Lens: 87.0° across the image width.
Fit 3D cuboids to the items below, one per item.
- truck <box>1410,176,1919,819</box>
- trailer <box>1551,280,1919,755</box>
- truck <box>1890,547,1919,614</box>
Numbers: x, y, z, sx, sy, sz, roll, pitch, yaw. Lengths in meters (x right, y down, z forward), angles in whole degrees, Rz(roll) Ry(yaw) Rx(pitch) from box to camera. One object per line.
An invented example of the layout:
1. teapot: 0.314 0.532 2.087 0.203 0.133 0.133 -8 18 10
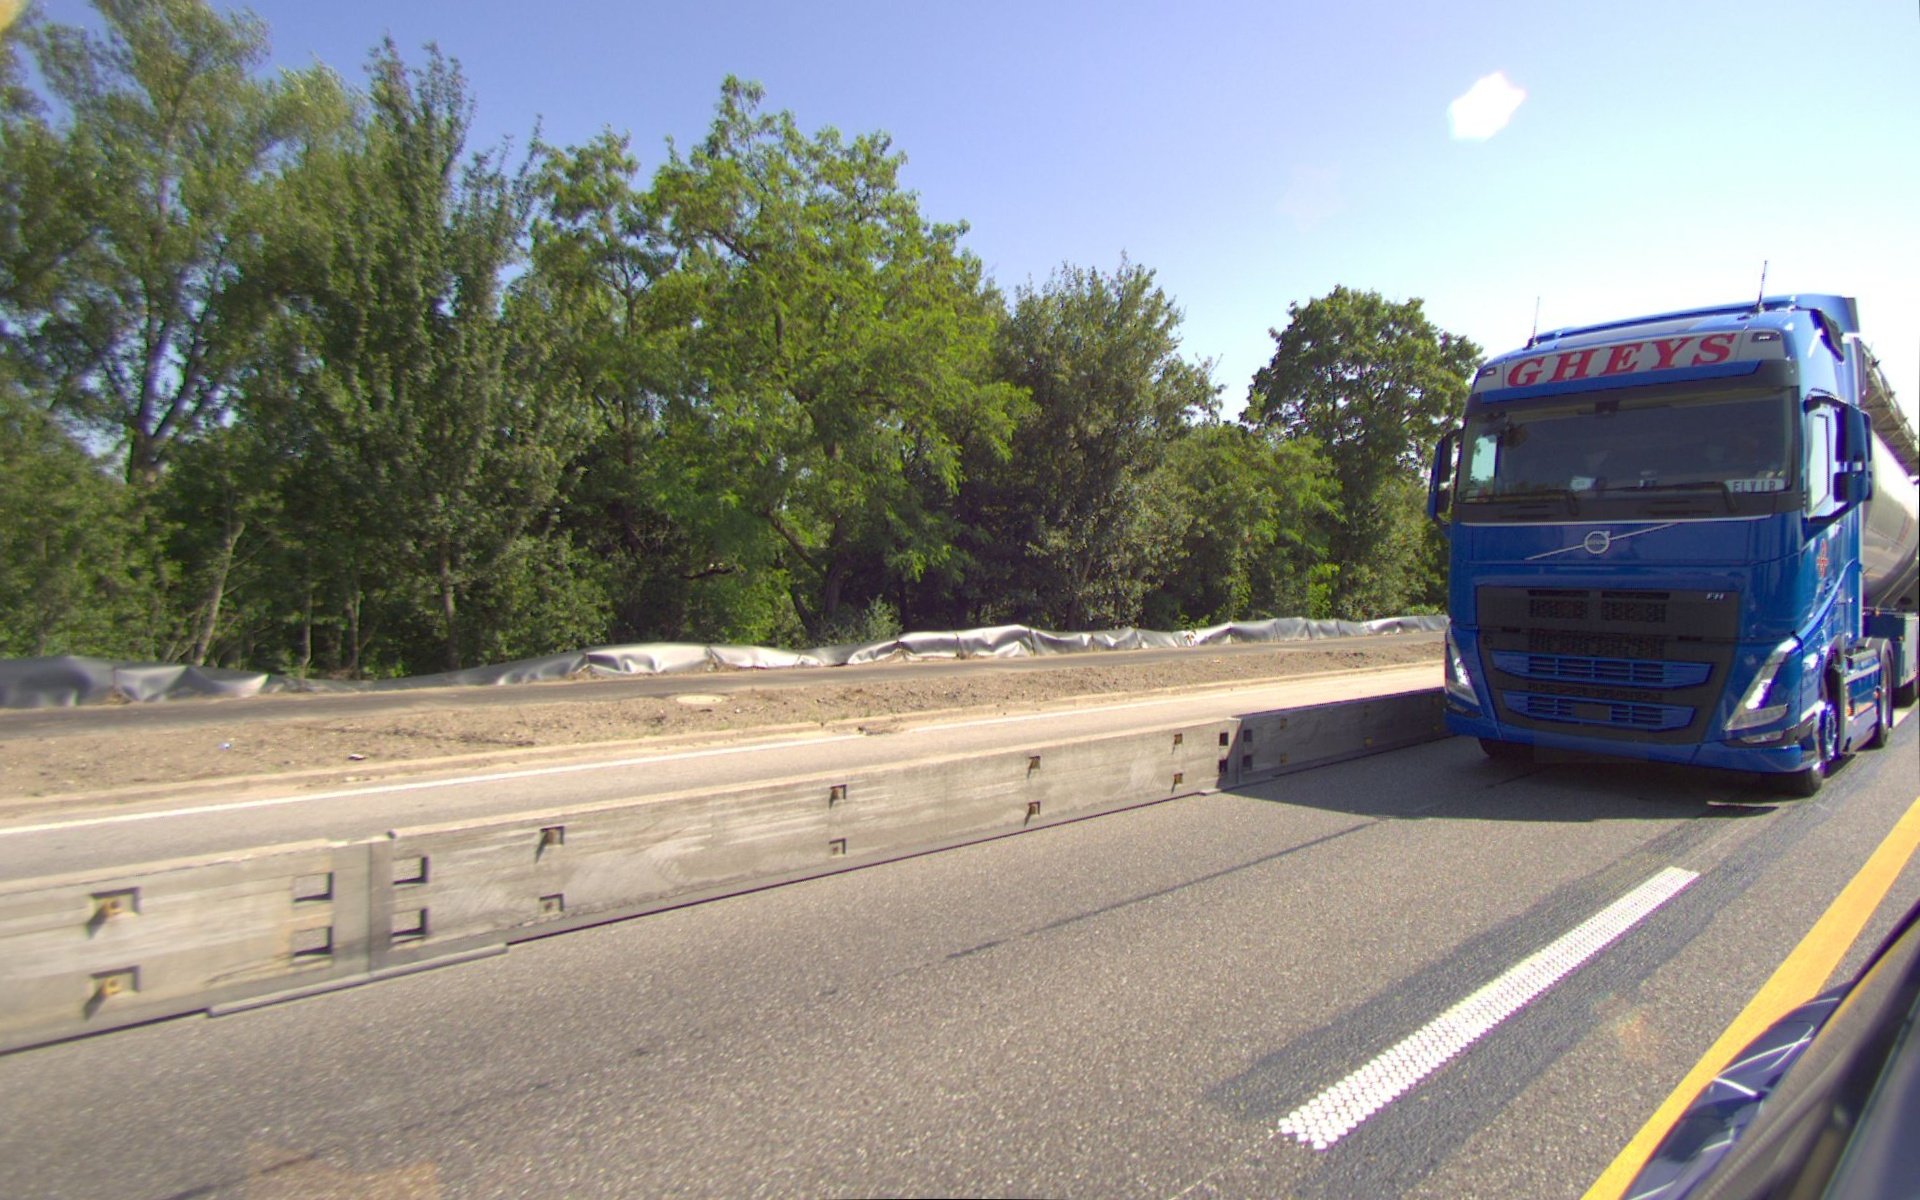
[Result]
1. truck: 7.447 -0.742 9.992 7.176 4.152 2.699 0 3 -43
2. trailer: 11.929 -0.829 14.198 12.402 4.187 2.698 0 3 -43
3. truck: 60.935 -1.168 63.718 8.522 4.033 2.857 0 3 -44
